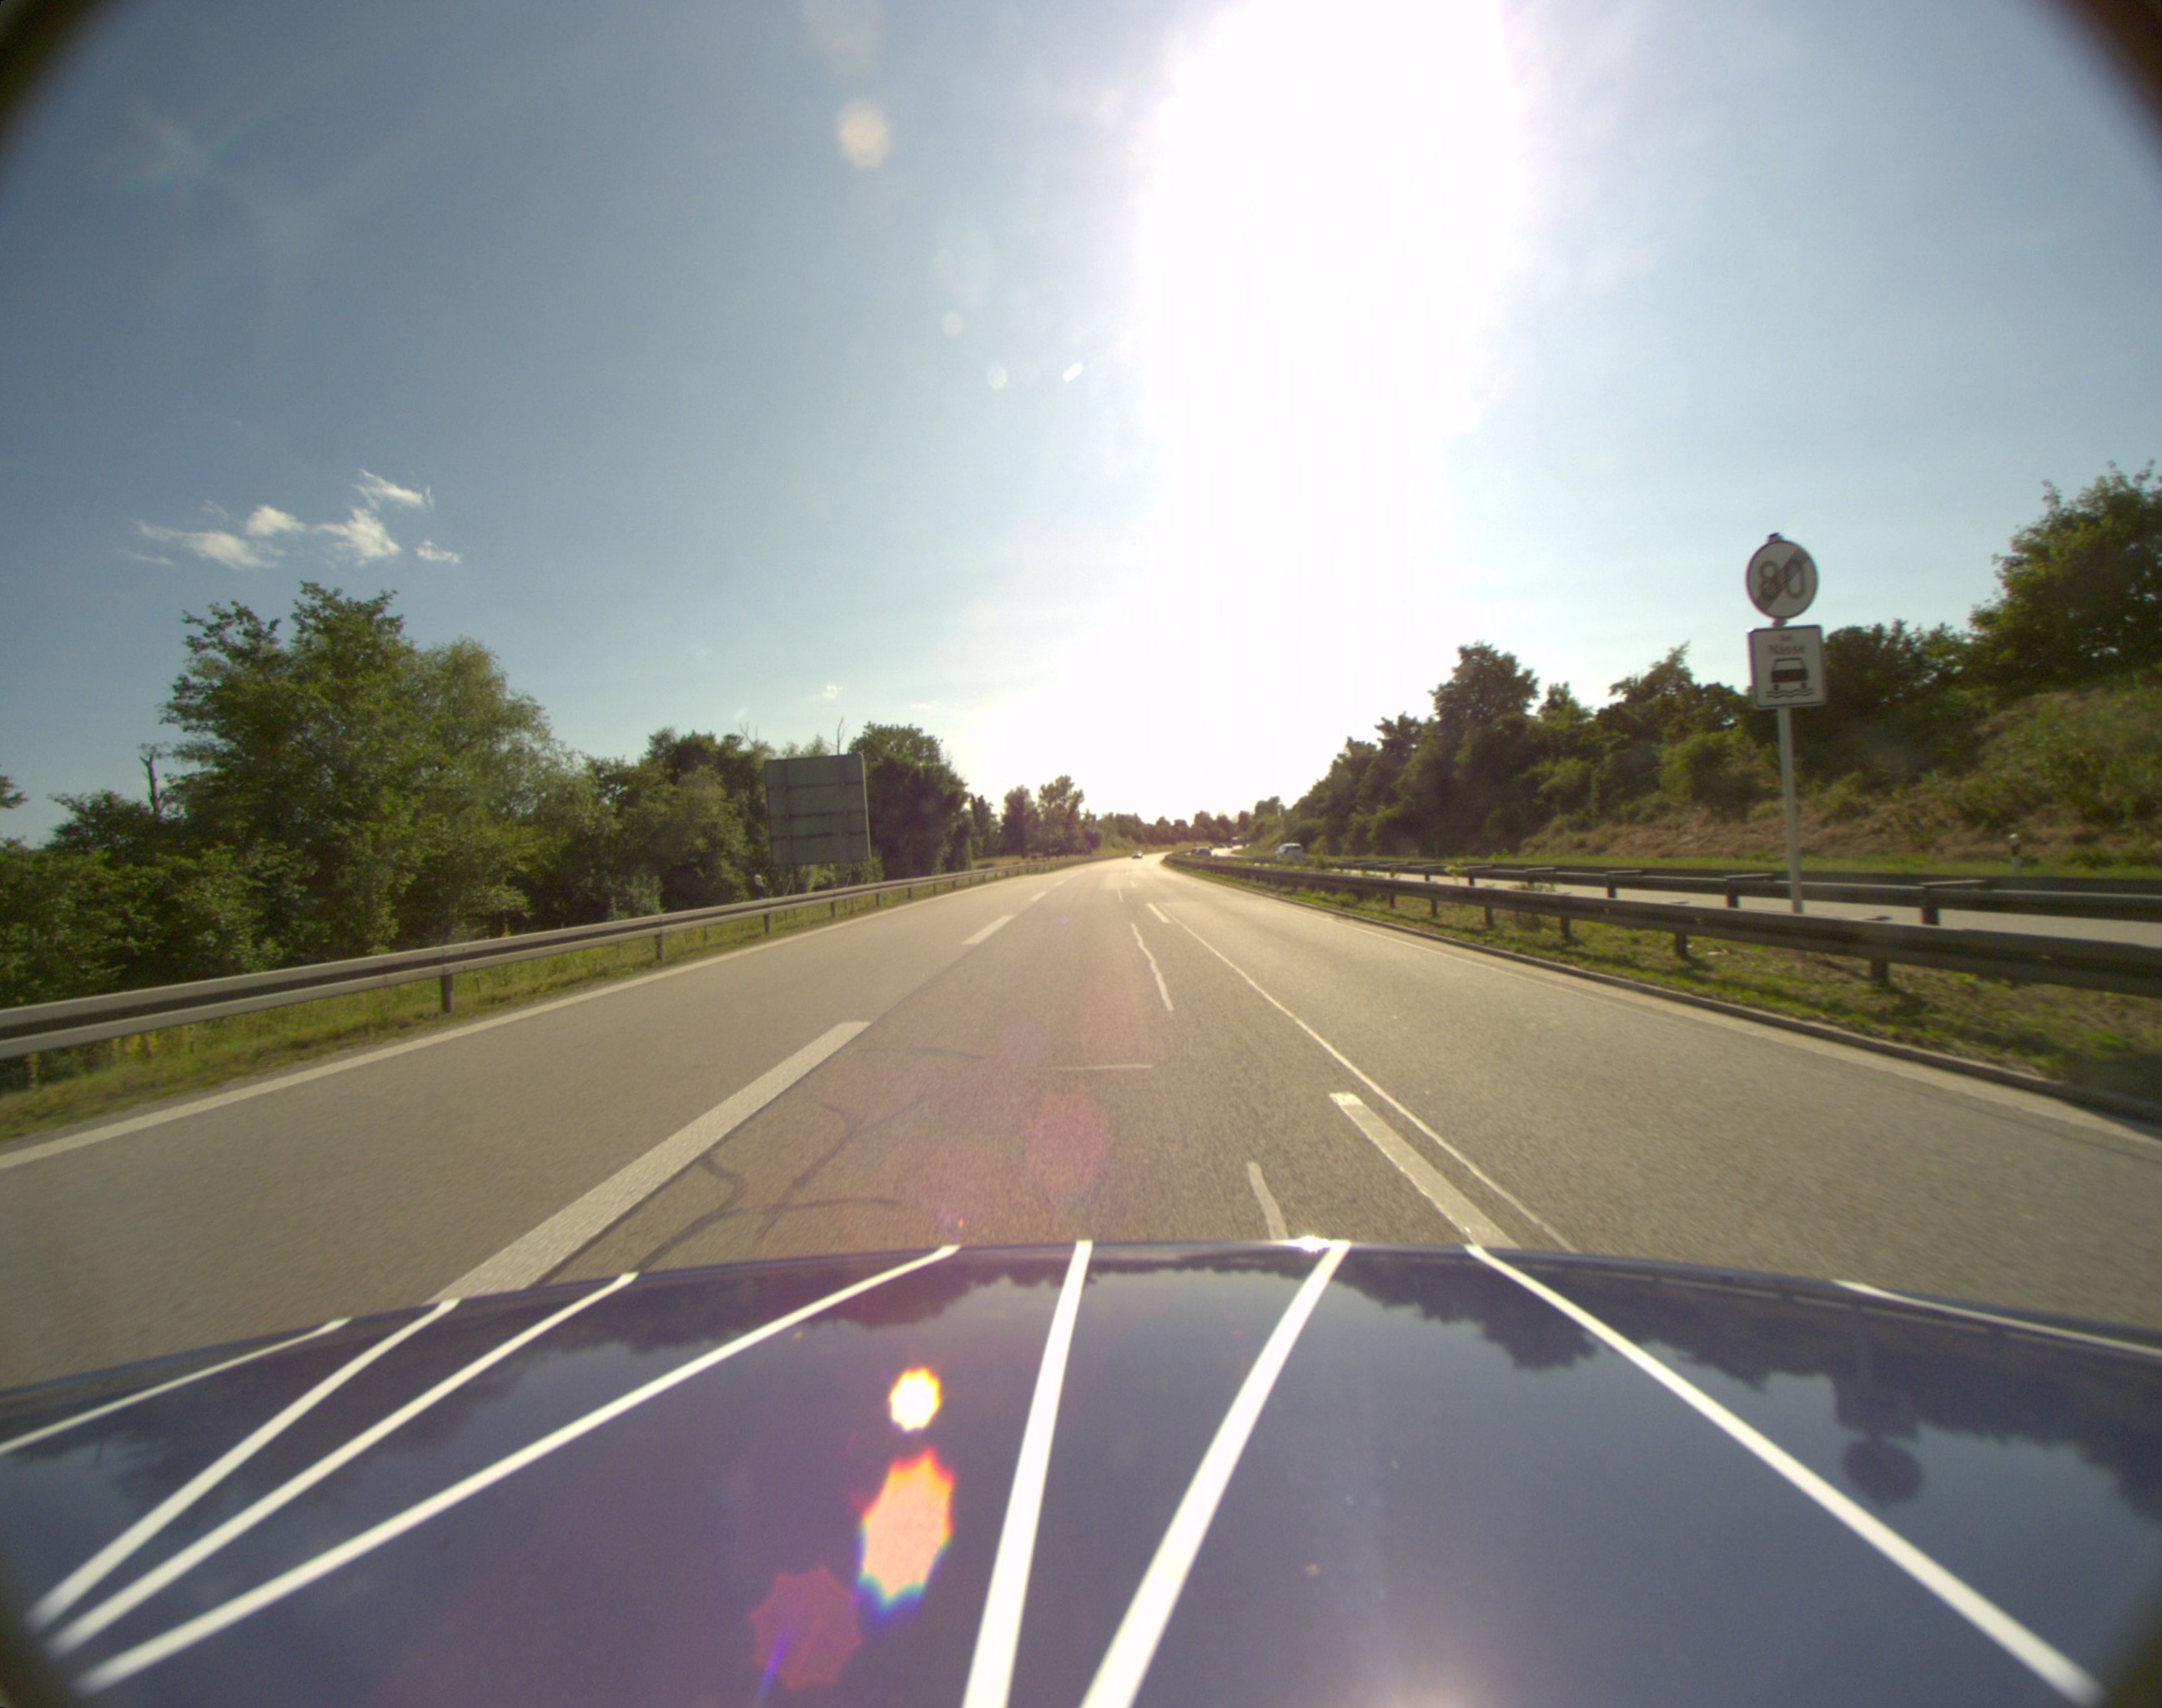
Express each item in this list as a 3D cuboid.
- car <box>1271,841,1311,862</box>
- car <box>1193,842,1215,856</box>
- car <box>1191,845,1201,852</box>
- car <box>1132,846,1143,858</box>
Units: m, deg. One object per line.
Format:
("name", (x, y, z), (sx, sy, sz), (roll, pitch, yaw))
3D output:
("car", (16.052, -0.174, 58.329), (1.844, 1.430, 4.412), (-3, 0, 1))
("car", (14.730, -0.627, 91.097), (1.998, 1.536, 4.676), (-1, 1, 2))
("car", (24.290, -1.192, 159.980), (1.648, 1.446, 4.907), (-2, 1, 4))
("car", (10.947, -0.398, 147.042), (1.998, 2.002, 4.600), (-4, 0, 4))
